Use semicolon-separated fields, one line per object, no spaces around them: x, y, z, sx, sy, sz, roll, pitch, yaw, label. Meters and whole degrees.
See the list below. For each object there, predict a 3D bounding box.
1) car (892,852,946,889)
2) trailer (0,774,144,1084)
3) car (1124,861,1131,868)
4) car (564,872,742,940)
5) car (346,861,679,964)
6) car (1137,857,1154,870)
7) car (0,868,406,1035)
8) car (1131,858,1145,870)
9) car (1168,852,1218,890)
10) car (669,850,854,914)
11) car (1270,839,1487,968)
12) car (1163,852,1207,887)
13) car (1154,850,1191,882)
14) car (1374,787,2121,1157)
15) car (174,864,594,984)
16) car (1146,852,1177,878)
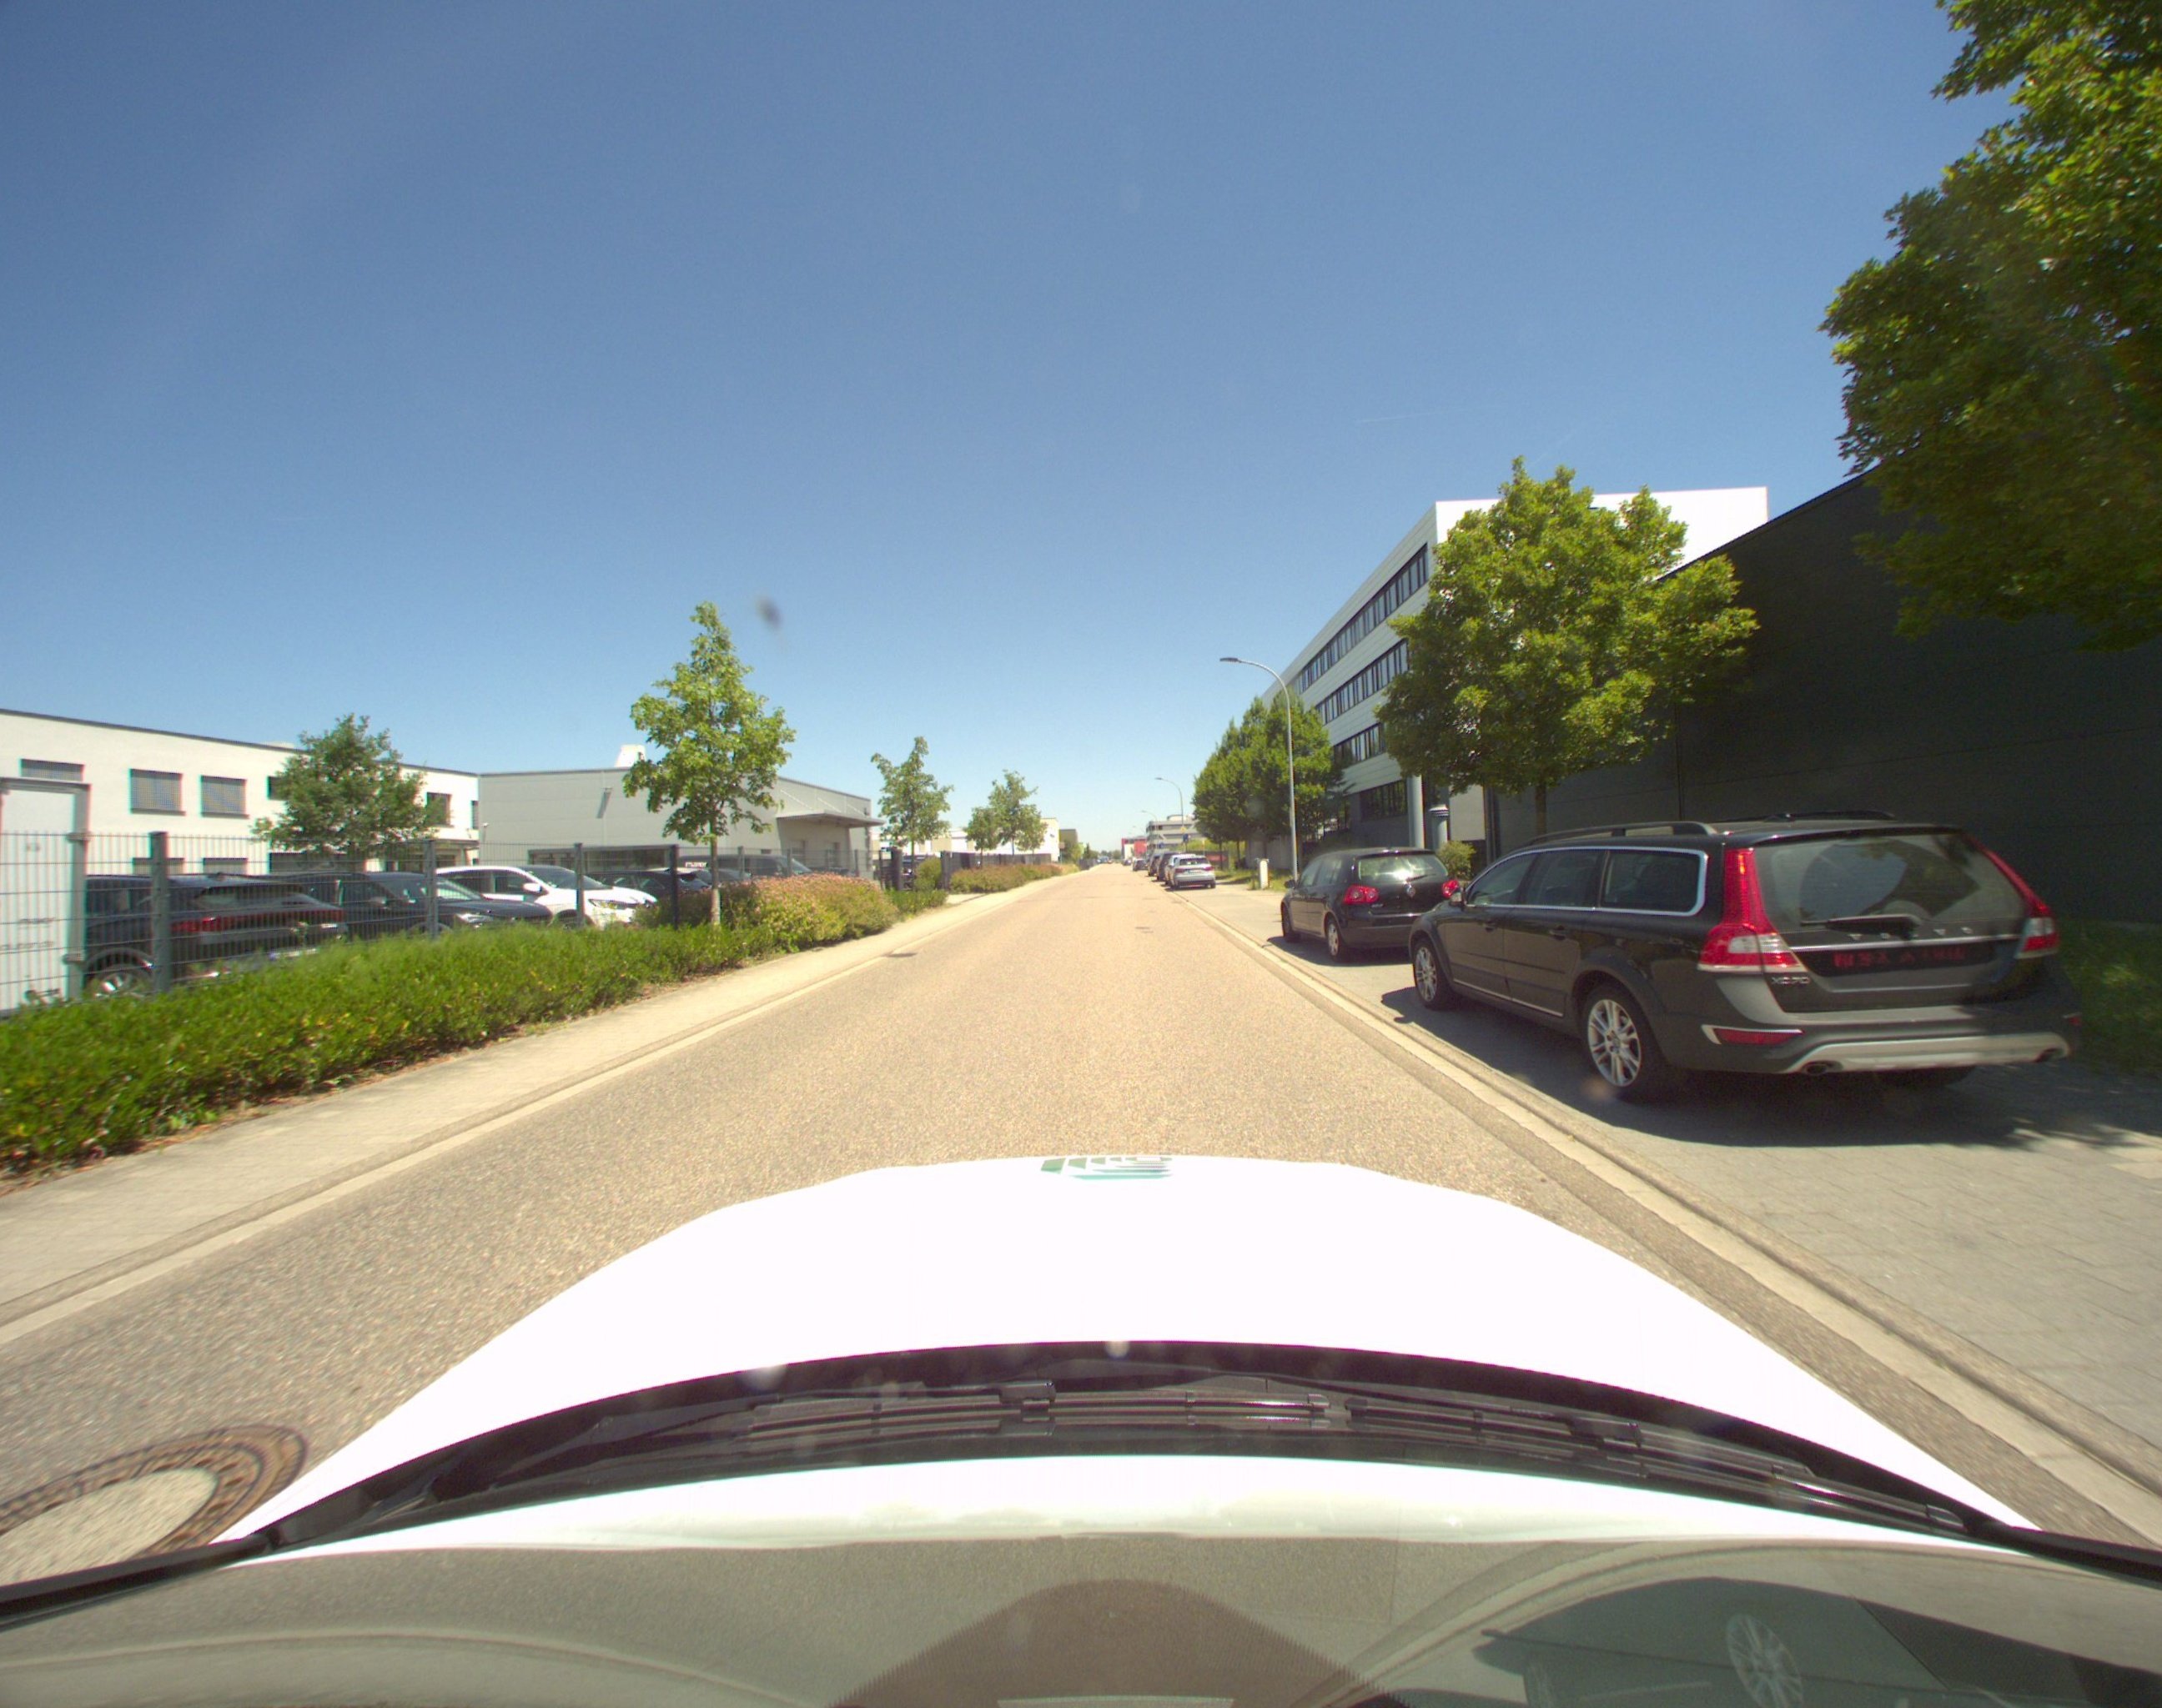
-9.675;0.980;48.947;1.992;2.099;4.698;0;-1;4;car
-10.216;0.580;6.235;3.975;2.360;1.726;0;-1;-1;trailer
11.985;2.640;210.307;1.769;1.728;4.002;0;-1;2;car
-10.515;1.251;20.191;3.358;1.498;1.905;-1;0;1;car
-10.256;1.015;14.956;4.713;1.629;2.001;-2;0;2;car
7.918;1.188;99.420;1.899;1.448;4.005;-4;-1;5;car
-10.563;1.009;9.012;4.529;1.535;2.001;-2;0;2;car
8.049;1.453;114.683;1.899;1.546;4.005;-4;-1;5;car
4.754;0.694;35.031;1.709;1.423;3.954;-4;0;3;car
-10.067;0.868;25.931;5.040;1.851;1.965;-1;-1;1;car
4.127;0.615;12.096;1.685;1.476;4.270;-4;0;1;car
5.014;0.718;39.612;1.709;1.481;4.034;-4;0;3;car
5.237;0.658;46.952;1.750;1.663;4.366;-4;0;3;car
3.956;0.560;6.163;1.801;1.617;4.716;-4;0;1;car
-10.406;0.999;12.438;4.713;1.535;2.001;-2;0;2;car
5.870;0.790;59.773;1.797;1.662;4.609;-4;0;1;car
